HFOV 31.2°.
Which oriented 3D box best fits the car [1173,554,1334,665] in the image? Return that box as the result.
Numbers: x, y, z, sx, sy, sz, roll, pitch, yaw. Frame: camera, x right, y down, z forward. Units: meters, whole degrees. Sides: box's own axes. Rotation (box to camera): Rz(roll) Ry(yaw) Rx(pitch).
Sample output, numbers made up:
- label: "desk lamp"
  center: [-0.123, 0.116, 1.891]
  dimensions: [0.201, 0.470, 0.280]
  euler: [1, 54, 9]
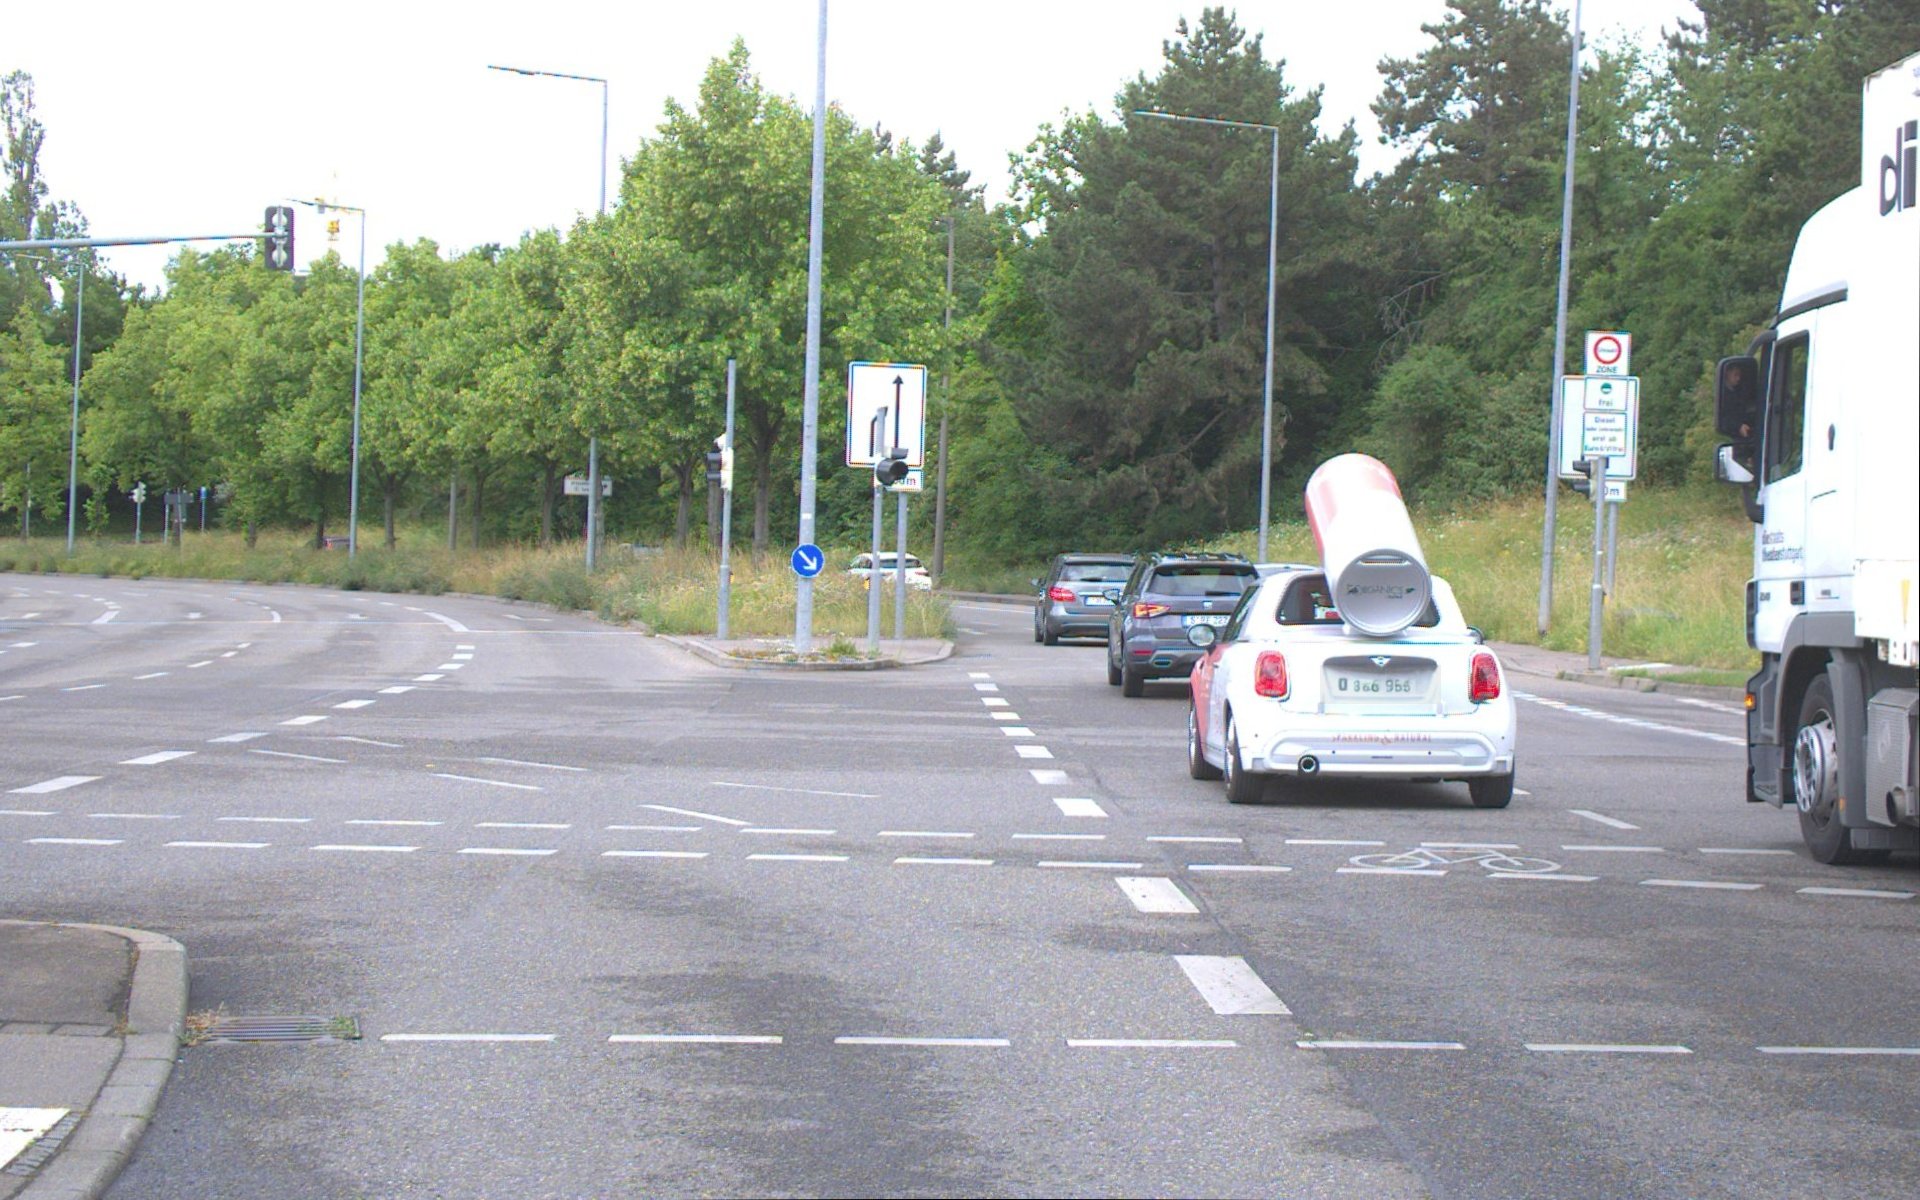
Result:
- label: "car"
  center: [3.948, 0.099, 46.830]
  dimensions: [1.746, 1.378, 4.291]
  euler: [1, 1, -1]

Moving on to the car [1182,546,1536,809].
- label: "car"
  center: [2.433, 0.435, 21.738]
  dimensions: [1.821, 1.501, 3.494]
  euler: [1, 0, 0]

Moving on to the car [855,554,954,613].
- label: "car"
  center: [-1.507, -0.447, 91.310]
  dimensions: [1.844, 1.501, 4.532]
  euler: [1, 0, -11]

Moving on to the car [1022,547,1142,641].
- label: "car"
  center: [2.005, -0.128, 57.379]
  dimensions: [1.746, 1.503, 4.048]
  euler: [1, 1, -1]

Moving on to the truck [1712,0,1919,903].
- label: "truck"
  center: [5.506, -0.611, 13.338]
  dimensions: [2.802, 3.890, 10.182]
  euler: [1, 1, 0]

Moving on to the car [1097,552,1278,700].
- label: "car"
  center: [2.436, 0.243, 37.548]
  dimensions: [1.624, 1.488, 3.837]
  euler: [1, 1, -1]
